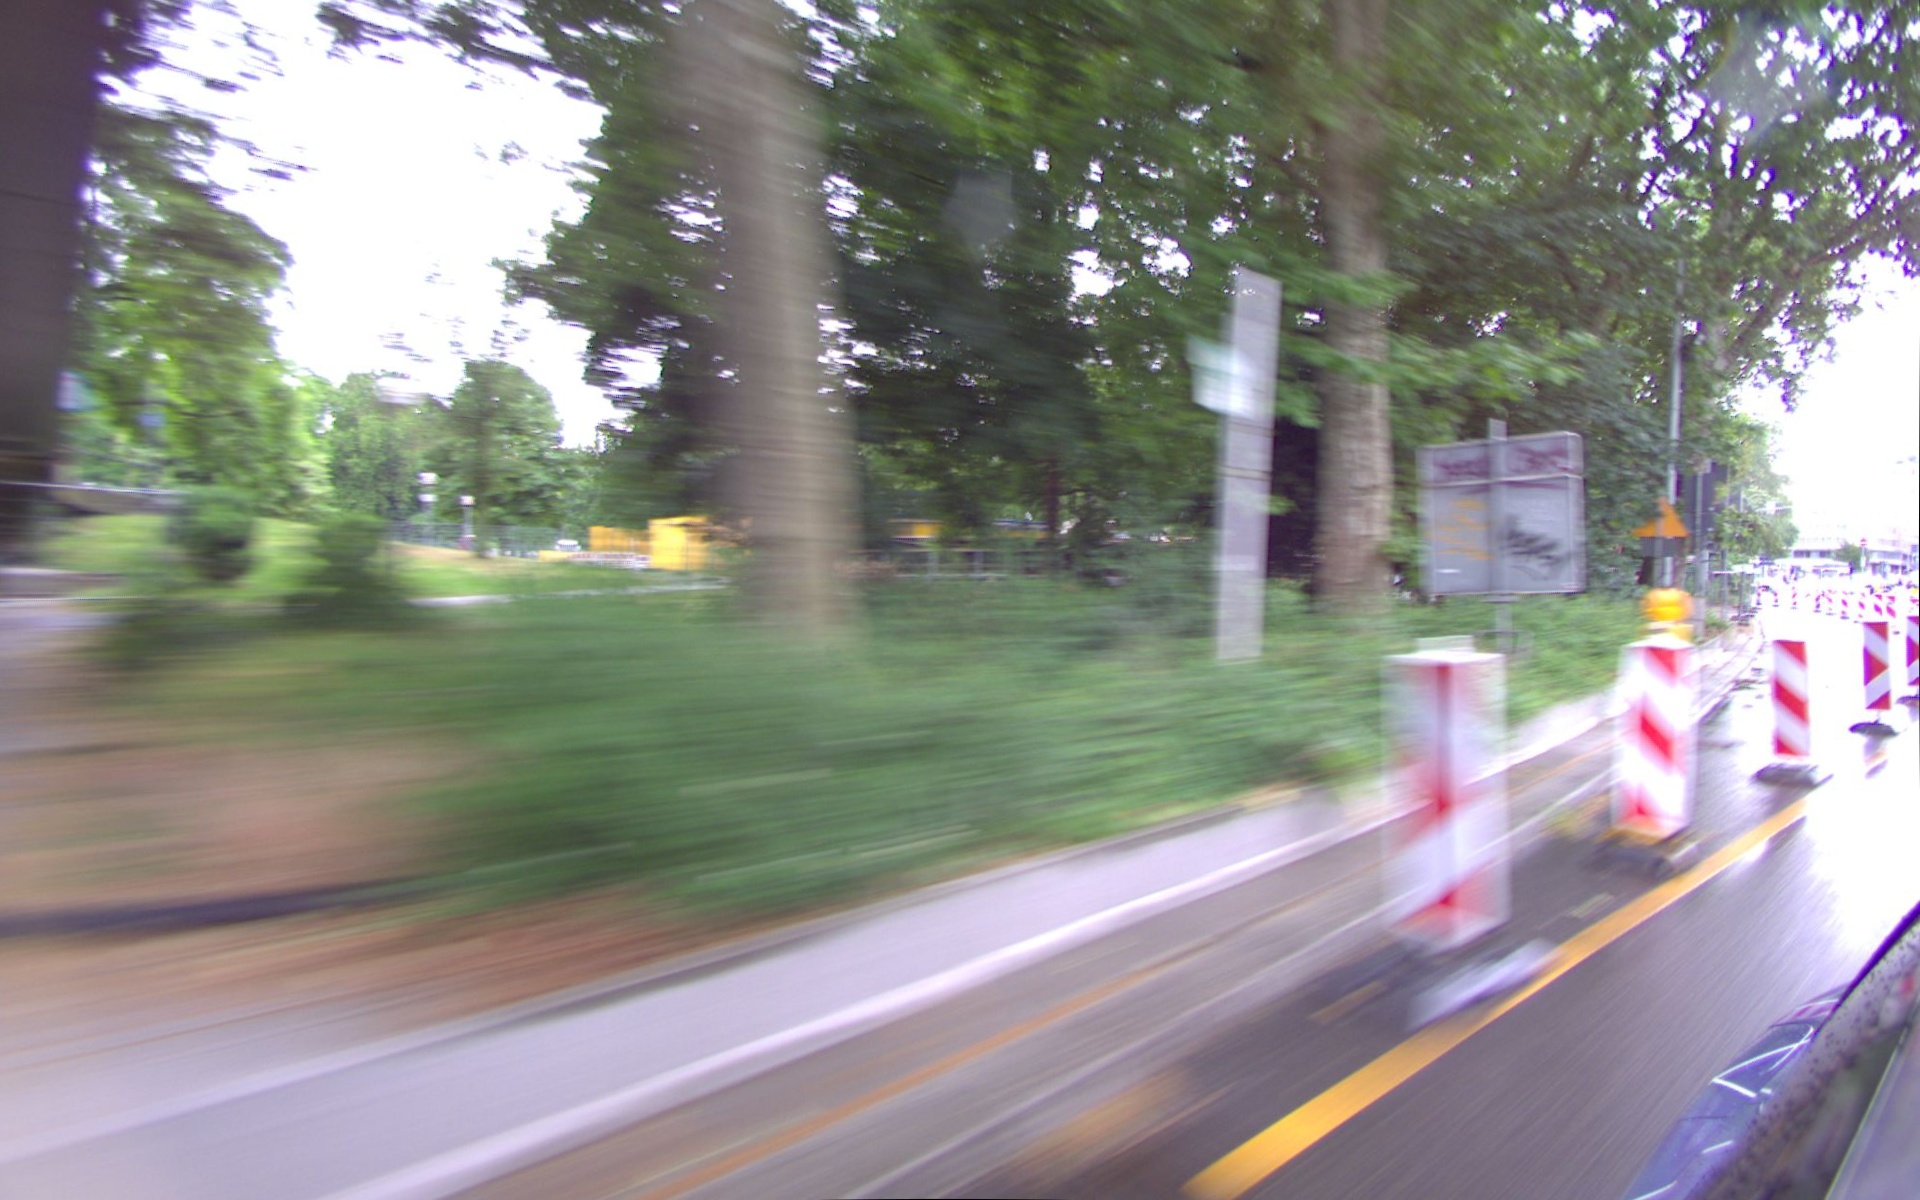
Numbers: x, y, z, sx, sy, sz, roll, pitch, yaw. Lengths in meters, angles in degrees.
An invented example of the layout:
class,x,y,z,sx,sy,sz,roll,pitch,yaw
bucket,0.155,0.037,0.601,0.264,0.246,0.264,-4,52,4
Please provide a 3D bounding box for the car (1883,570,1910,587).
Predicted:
class,x,y,z,sx,sy,sz,roll,pitch,yaw
car,107.521,-2.490,116.251,1.992,1.836,4.231,3,3,40
